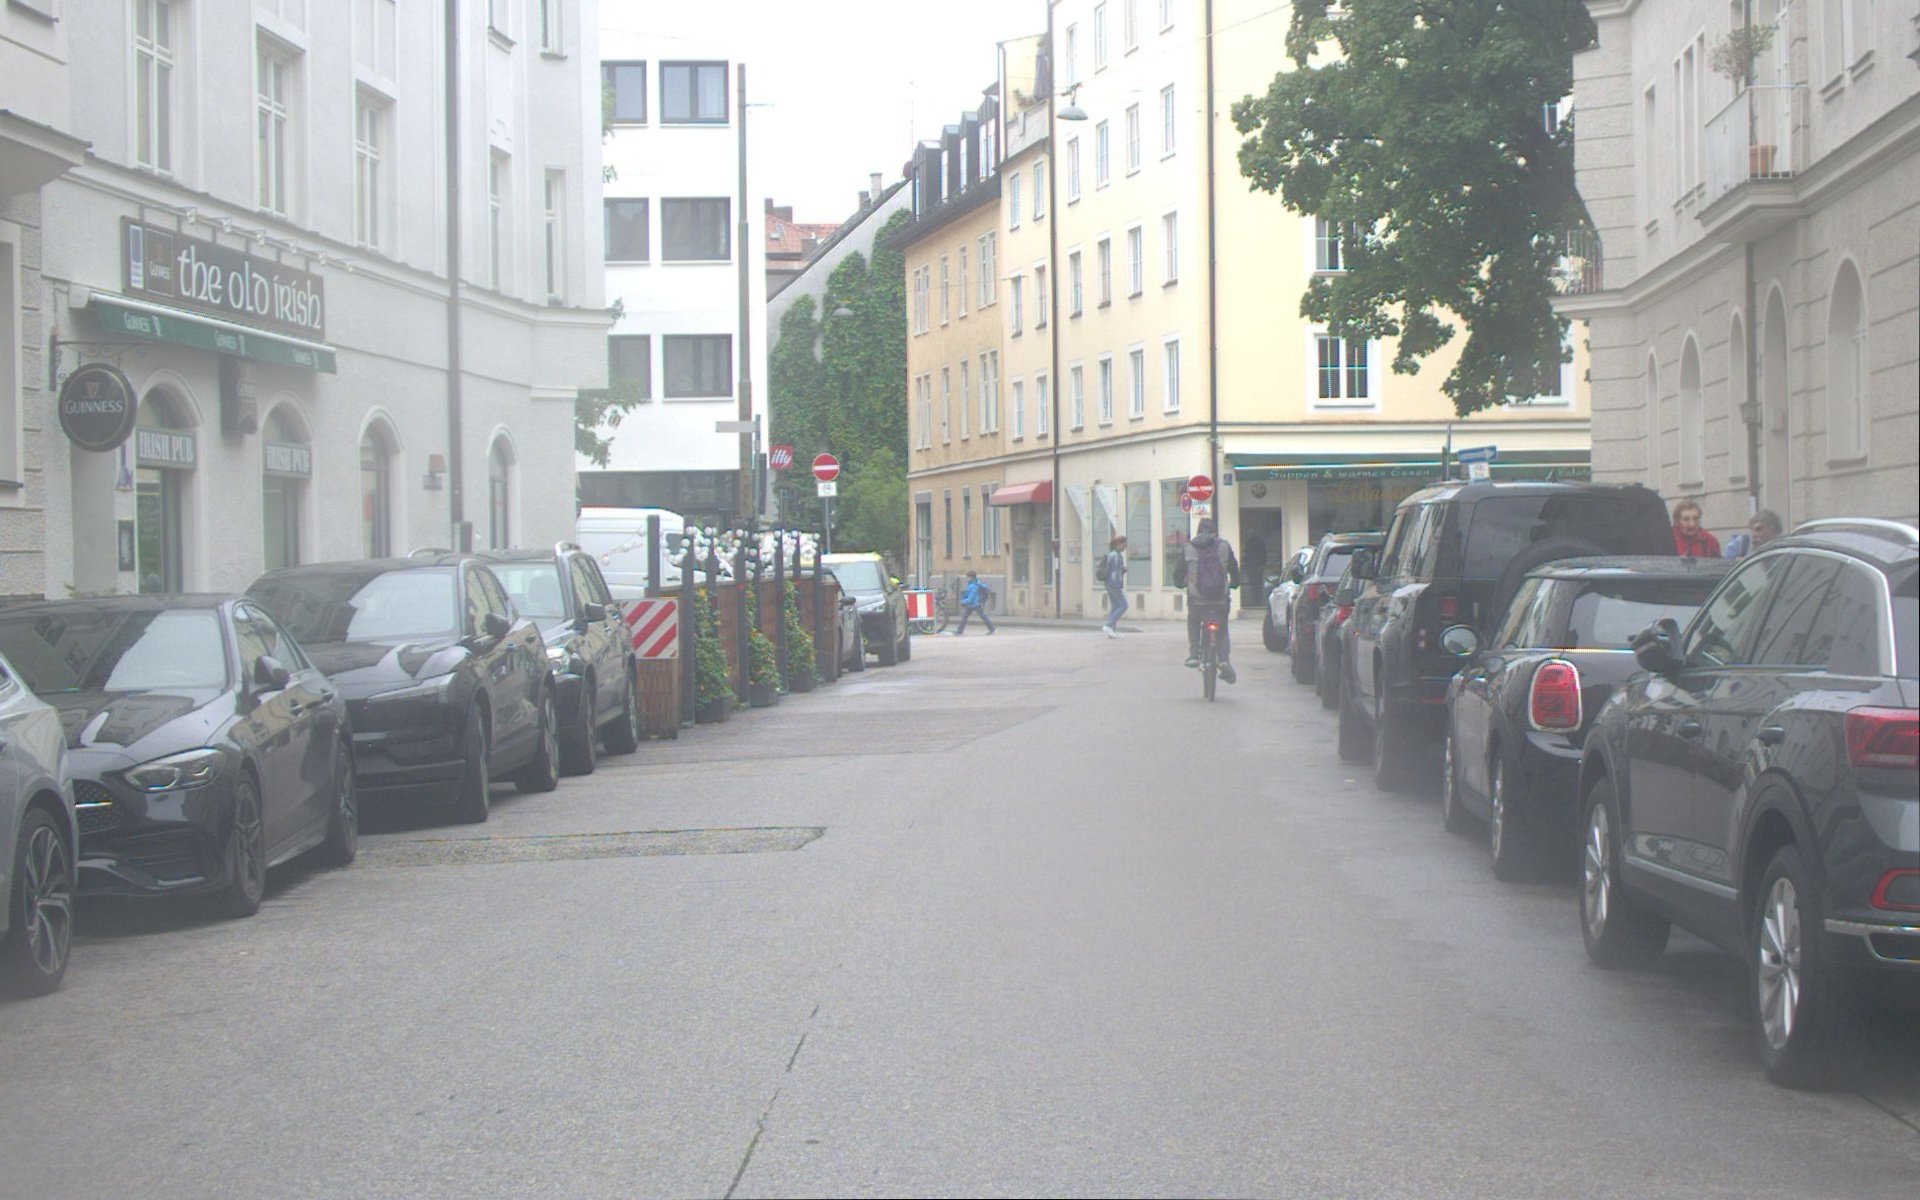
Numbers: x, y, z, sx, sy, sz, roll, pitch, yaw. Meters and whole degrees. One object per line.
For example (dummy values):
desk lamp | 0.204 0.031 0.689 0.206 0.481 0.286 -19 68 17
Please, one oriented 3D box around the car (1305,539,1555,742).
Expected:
car | 3.742 0.275 27.877 1.655 1.520 3.637 0 1 2

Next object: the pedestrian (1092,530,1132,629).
pedestrian | 2.566 -0.351 58.007 0.611 1.655 0.551 -1 1 6

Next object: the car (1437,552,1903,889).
car | 3.251 0.483 16.351 1.664 1.390 3.581 1 1 4

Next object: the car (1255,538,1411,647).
car | 5.329 -0.129 49.524 1.750 1.491 3.910 -1 1 -1

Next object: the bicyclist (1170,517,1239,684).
bicyclist | 2.398 -0.001 33.634 0.606 1.601 0.757 -1 1 7

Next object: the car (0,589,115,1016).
car | -4.166 0.748 10.623 1.794 1.415 4.510 -4 1 2

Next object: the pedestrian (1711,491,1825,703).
pedestrian | 6.550 -0.031 27.889 0.679 1.668 0.654 -3 1 -1

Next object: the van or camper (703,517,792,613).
van or camper | -5.828 -0.962 94.003 1.993 2.531 4.761 -1 1 -8

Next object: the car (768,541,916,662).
car | -1.656 -0.001 49.386 1.676 1.591 3.945 -3 0 3

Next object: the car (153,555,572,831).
car | -3.541 0.487 21.111 1.742 1.481 4.181 -1 1 1

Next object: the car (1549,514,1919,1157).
car | 3.002 0.545 10.460 1.707 1.582 4.000 1 1 0

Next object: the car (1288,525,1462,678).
car | 4.643 -0.029 38.944 1.777 1.630 4.374 0 1 5

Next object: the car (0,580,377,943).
car | -3.968 0.659 16.096 1.810 1.380 4.444 -2 1 -2

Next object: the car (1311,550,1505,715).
car | 4.325 0.267 33.673 1.707 1.466 4.200 -1 1 5

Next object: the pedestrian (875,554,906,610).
pedestrian | -2.222 -0.582 110.281 0.877 1.772 0.774 -1 1 -9

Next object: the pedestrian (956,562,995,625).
pedestrian | 0.317 -0.137 70.810 0.699 1.266 0.651 -2 1 6

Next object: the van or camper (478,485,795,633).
van or camper | -6.198 -0.777 65.914 5.903 2.668 1.873 -1 -1 -6

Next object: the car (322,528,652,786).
car | -3.454 0.350 25.863 1.746 1.667 4.276 -4 1 1

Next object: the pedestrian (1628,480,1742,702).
pedestrian | 5.776 -0.078 27.418 0.703 1.722 0.703 -2 1 -1

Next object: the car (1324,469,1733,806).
car | 3.485 0.174 21.947 1.911 1.879 4.714 1 1 2

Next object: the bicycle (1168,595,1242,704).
bicycle | 2.405 0.473 33.607 0.639 1.001 1.574 -1 1 7
